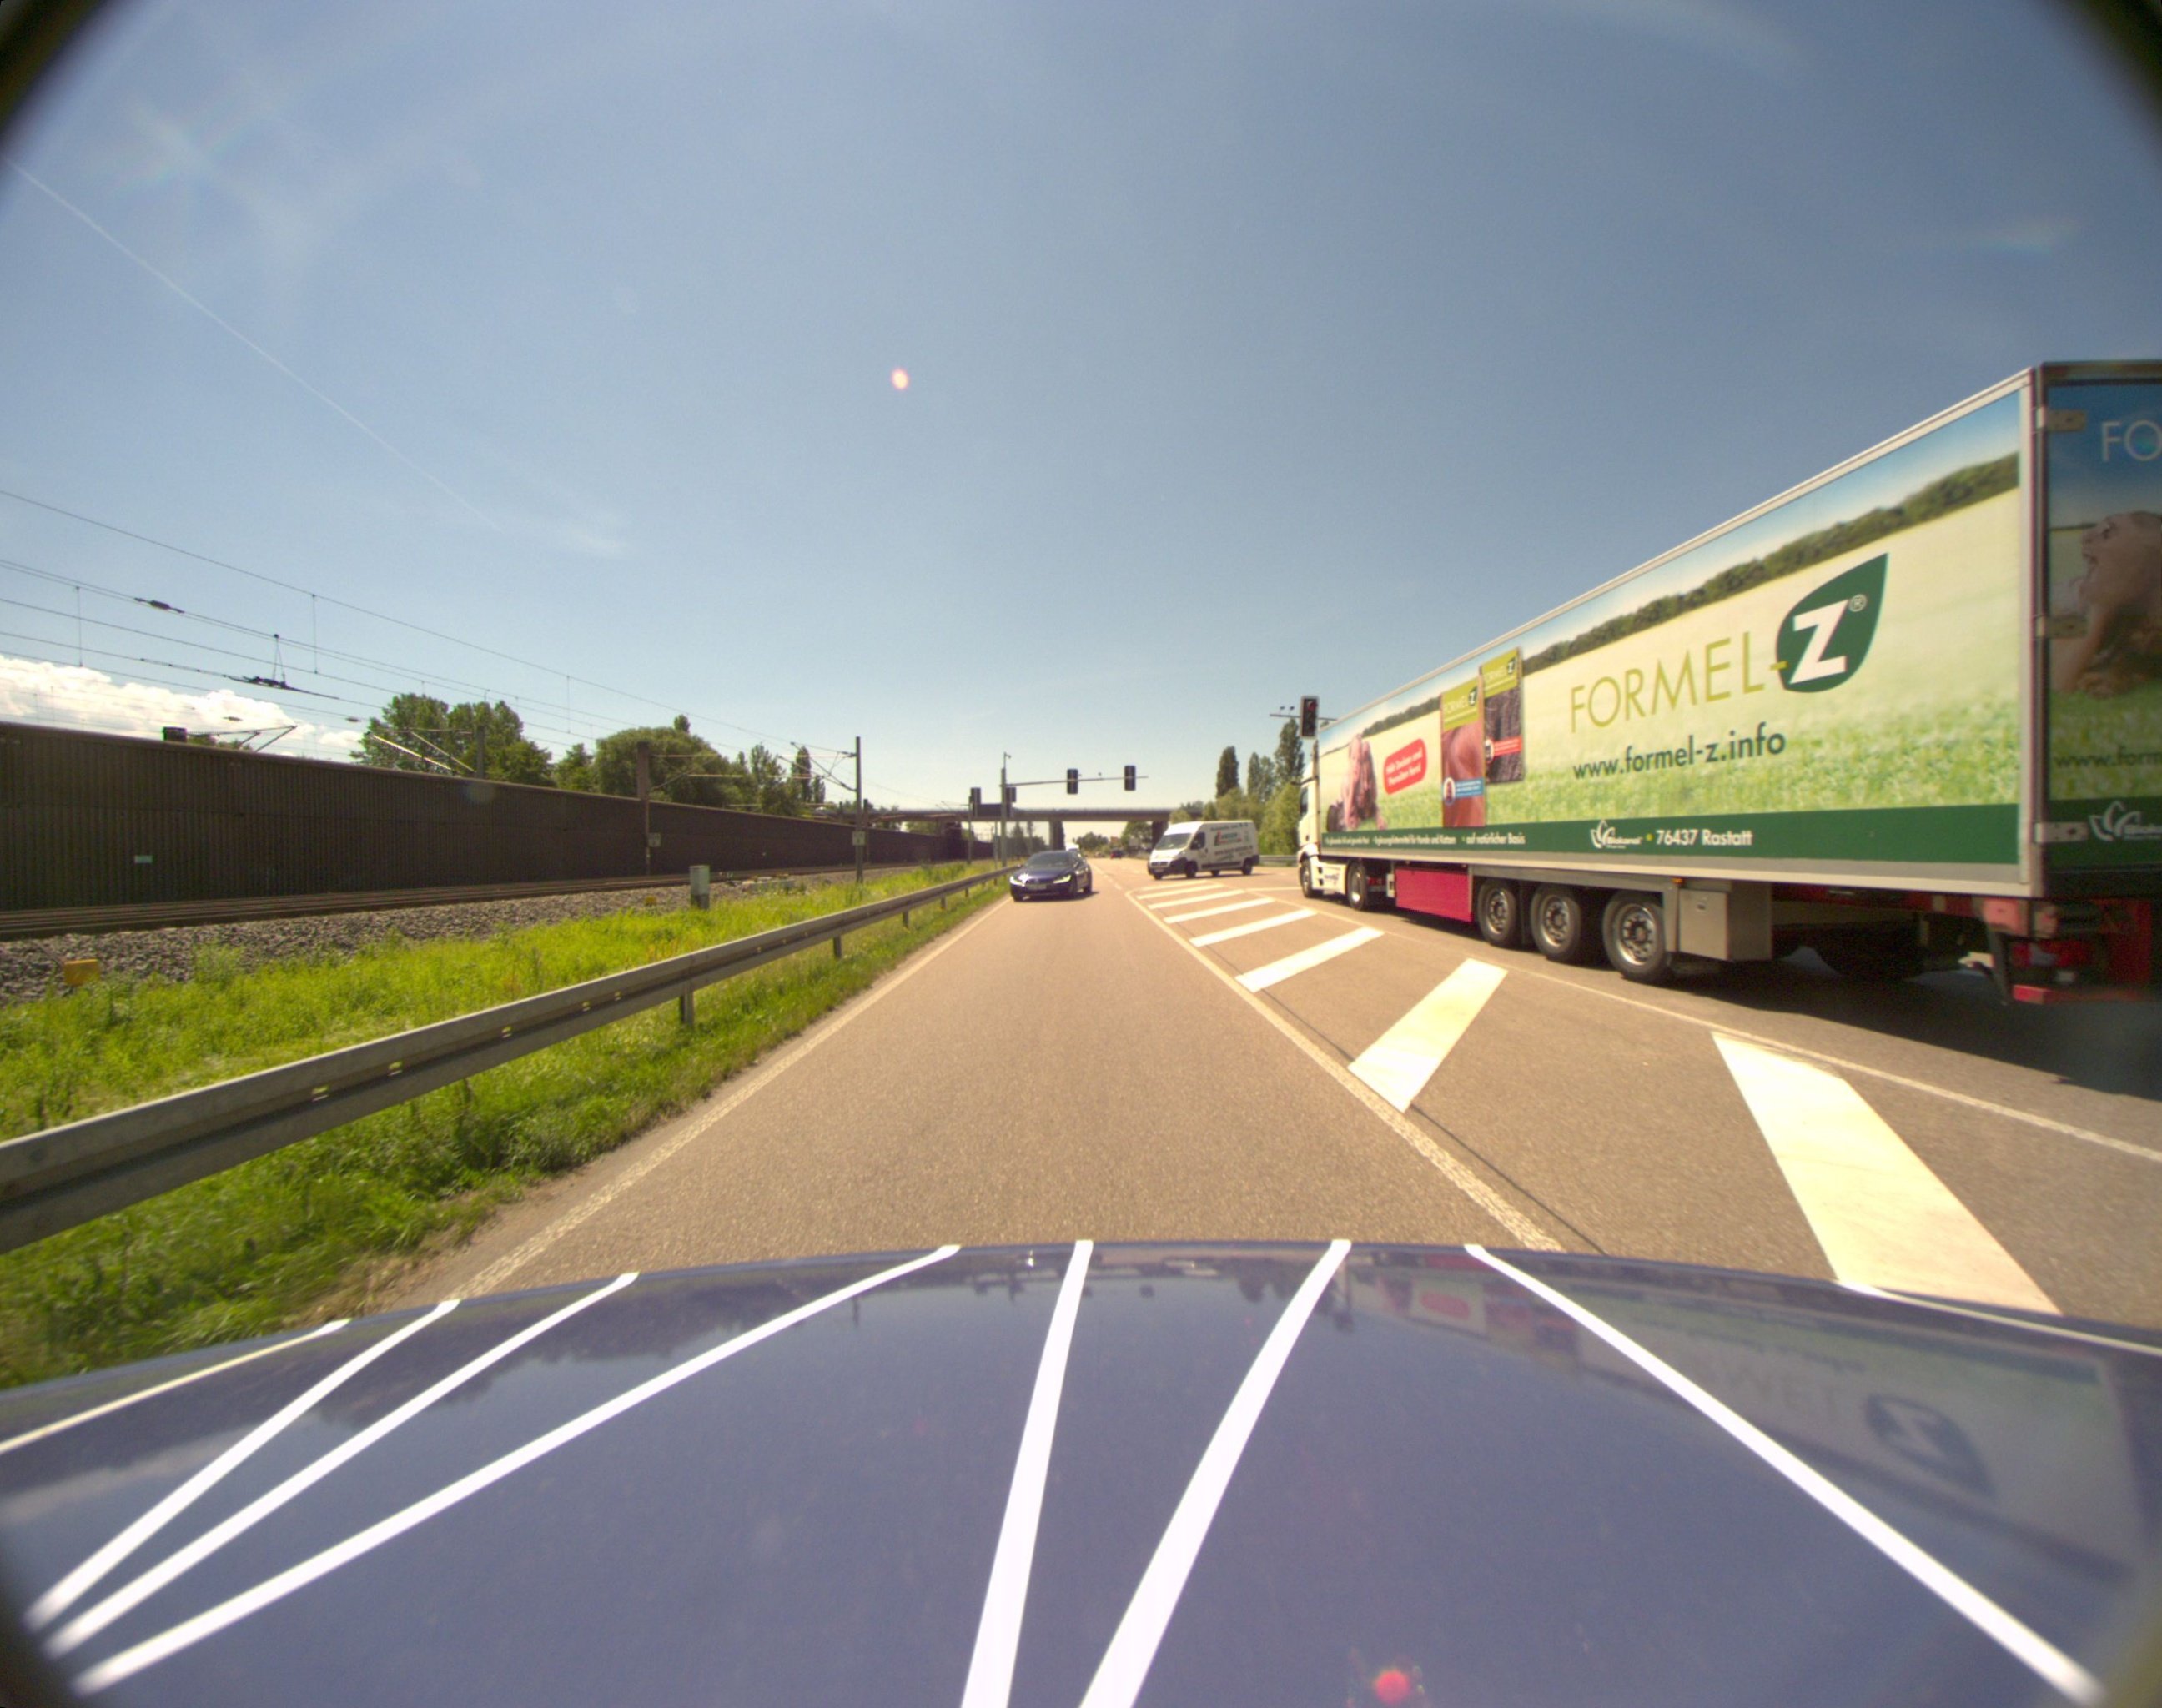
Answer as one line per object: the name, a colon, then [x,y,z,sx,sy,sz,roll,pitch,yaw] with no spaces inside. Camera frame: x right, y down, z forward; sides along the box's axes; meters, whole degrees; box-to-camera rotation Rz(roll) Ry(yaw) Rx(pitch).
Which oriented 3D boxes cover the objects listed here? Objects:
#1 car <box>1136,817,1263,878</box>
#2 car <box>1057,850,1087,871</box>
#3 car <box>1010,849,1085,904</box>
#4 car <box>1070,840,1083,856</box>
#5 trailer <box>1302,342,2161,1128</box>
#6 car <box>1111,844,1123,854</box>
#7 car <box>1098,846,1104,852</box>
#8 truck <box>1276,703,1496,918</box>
car: [5.425,-0.358,34.179,5.993,2.481,2.223,-3,1,-41]
car: [-0.588,0.416,53.286,1.911,1.356,4.647,-2,1,1]
car: [-0.913,0.615,23.304,1.847,1.415,4.562,-2,1,3]
car: [-0.708,-0.969,117.543,1.911,2.427,4.647,-2,1,1]
trailer: [6.528,-0.761,10.965,2.696,4.022,14.122,-2,1,1]
car: [5.922,-0.900,125.637,1.642,1.587,3.560,-1,0,-3]
car: [5.516,-1.459,210.815,1.589,1.553,3.687,-2,1,1]
truck: [6.628,-0.883,17.536,2.696,4.022,5.824,-2,1,1]
